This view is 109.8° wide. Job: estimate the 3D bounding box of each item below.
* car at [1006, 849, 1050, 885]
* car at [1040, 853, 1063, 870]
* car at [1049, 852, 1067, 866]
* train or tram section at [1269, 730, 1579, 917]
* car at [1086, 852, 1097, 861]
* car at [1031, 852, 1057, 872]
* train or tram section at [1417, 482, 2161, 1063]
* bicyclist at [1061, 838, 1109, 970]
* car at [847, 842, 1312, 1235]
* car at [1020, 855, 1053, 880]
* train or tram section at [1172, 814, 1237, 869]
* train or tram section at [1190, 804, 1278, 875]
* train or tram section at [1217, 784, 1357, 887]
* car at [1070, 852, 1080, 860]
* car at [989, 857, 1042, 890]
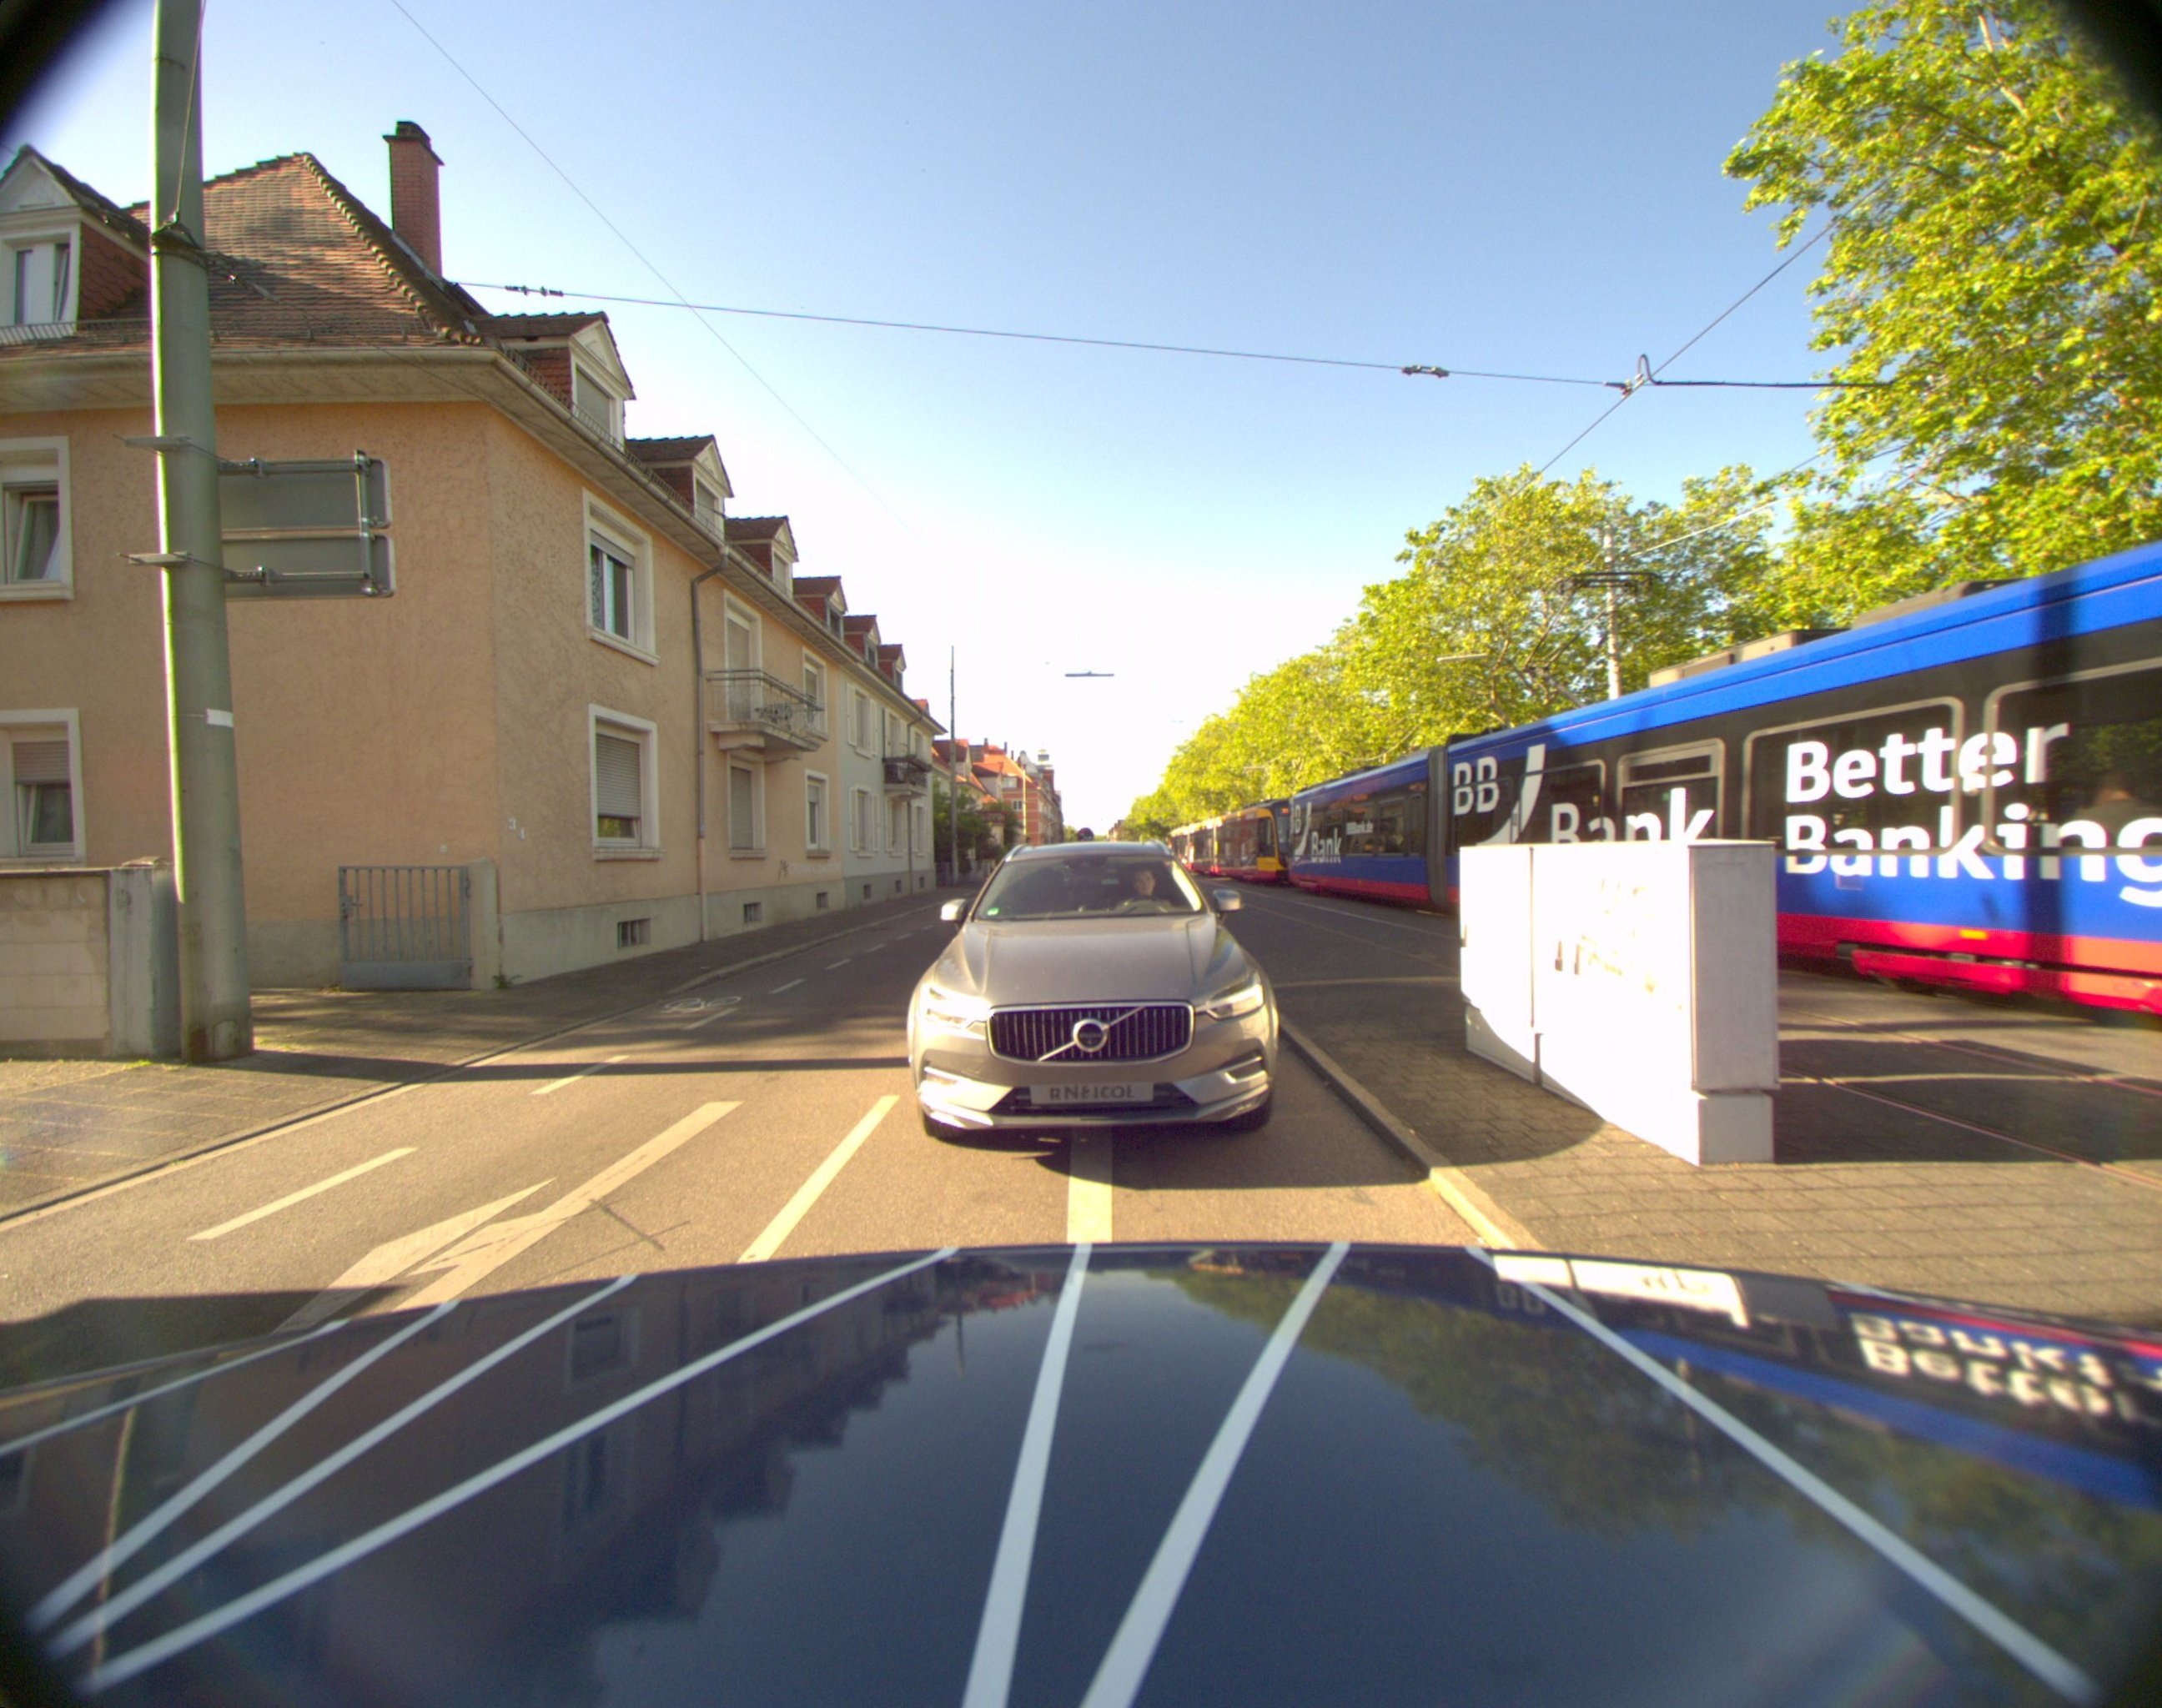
[{"bbox_3d":[-2.902,0.661,42.726,1.932,1.834,5.313,-1,0,2],"label":"car"},{"bbox_3d":[-2.603,0.631,67.223,1.882,1.477,3.999,-1,0,-1],"label":"car"},{"bbox_3d":[-2.556,0.505,85.528,1.882,1.477,3.999,-1,0,-1],"label":"car"},{"bbox_3d":[8.173,-0.620,20.843,3.063,3.592,12.113,-1,0,0],"label":"train or tram section"},{"bbox_3d":[1.783,0.410,132.667,1.882,1.477,3.999,-1,0,-1],"label":"car"},{"bbox_3d":[-2.925,0.622,60.659,1.882,1.477,3.999,-1,0,-1],"label":"car"},{"bbox_3d":[8.159,-0.540,8.487,3.063,3.592,12.500,-1,0,-1],"label":"train or tram section"},{"bbox_3d":[0.058,0.650,10.210,0.600,1.709,0.662,-1,1,1],"label":"bicyclist"},{"bbox_3d":[0.027,0.768,5.437,1.917,1.621,4.502,-1,0,1],"label":"car"},{"bbox_3d":[-2.797,0.829,48.349,1.882,1.477,3.999,-1,0,-1],"label":"car"},{"bbox_3d":[9.070,-0.876,57.358,3.062,3.592,12.889,-1,0,1],"label":"train or tram section"},{"bbox_3d":[8.702,-0.781,44.961,3.062,3.592,11.950,-1,0,2],"label":"train or tram section"},{"bbox_3d":[8.370,-0.687,32.953,3.062,3.592,12.115,-1,0,2],"label":"train or tram section"},{"bbox_3d":[-1.095,0.308,148.057,1.882,1.477,3.999,-1,0,-1],"label":"car"},{"bbox_3d":[-3.131,0.921,37.159,1.881,1.477,4.001,-1,0,5],"label":"car"}]
